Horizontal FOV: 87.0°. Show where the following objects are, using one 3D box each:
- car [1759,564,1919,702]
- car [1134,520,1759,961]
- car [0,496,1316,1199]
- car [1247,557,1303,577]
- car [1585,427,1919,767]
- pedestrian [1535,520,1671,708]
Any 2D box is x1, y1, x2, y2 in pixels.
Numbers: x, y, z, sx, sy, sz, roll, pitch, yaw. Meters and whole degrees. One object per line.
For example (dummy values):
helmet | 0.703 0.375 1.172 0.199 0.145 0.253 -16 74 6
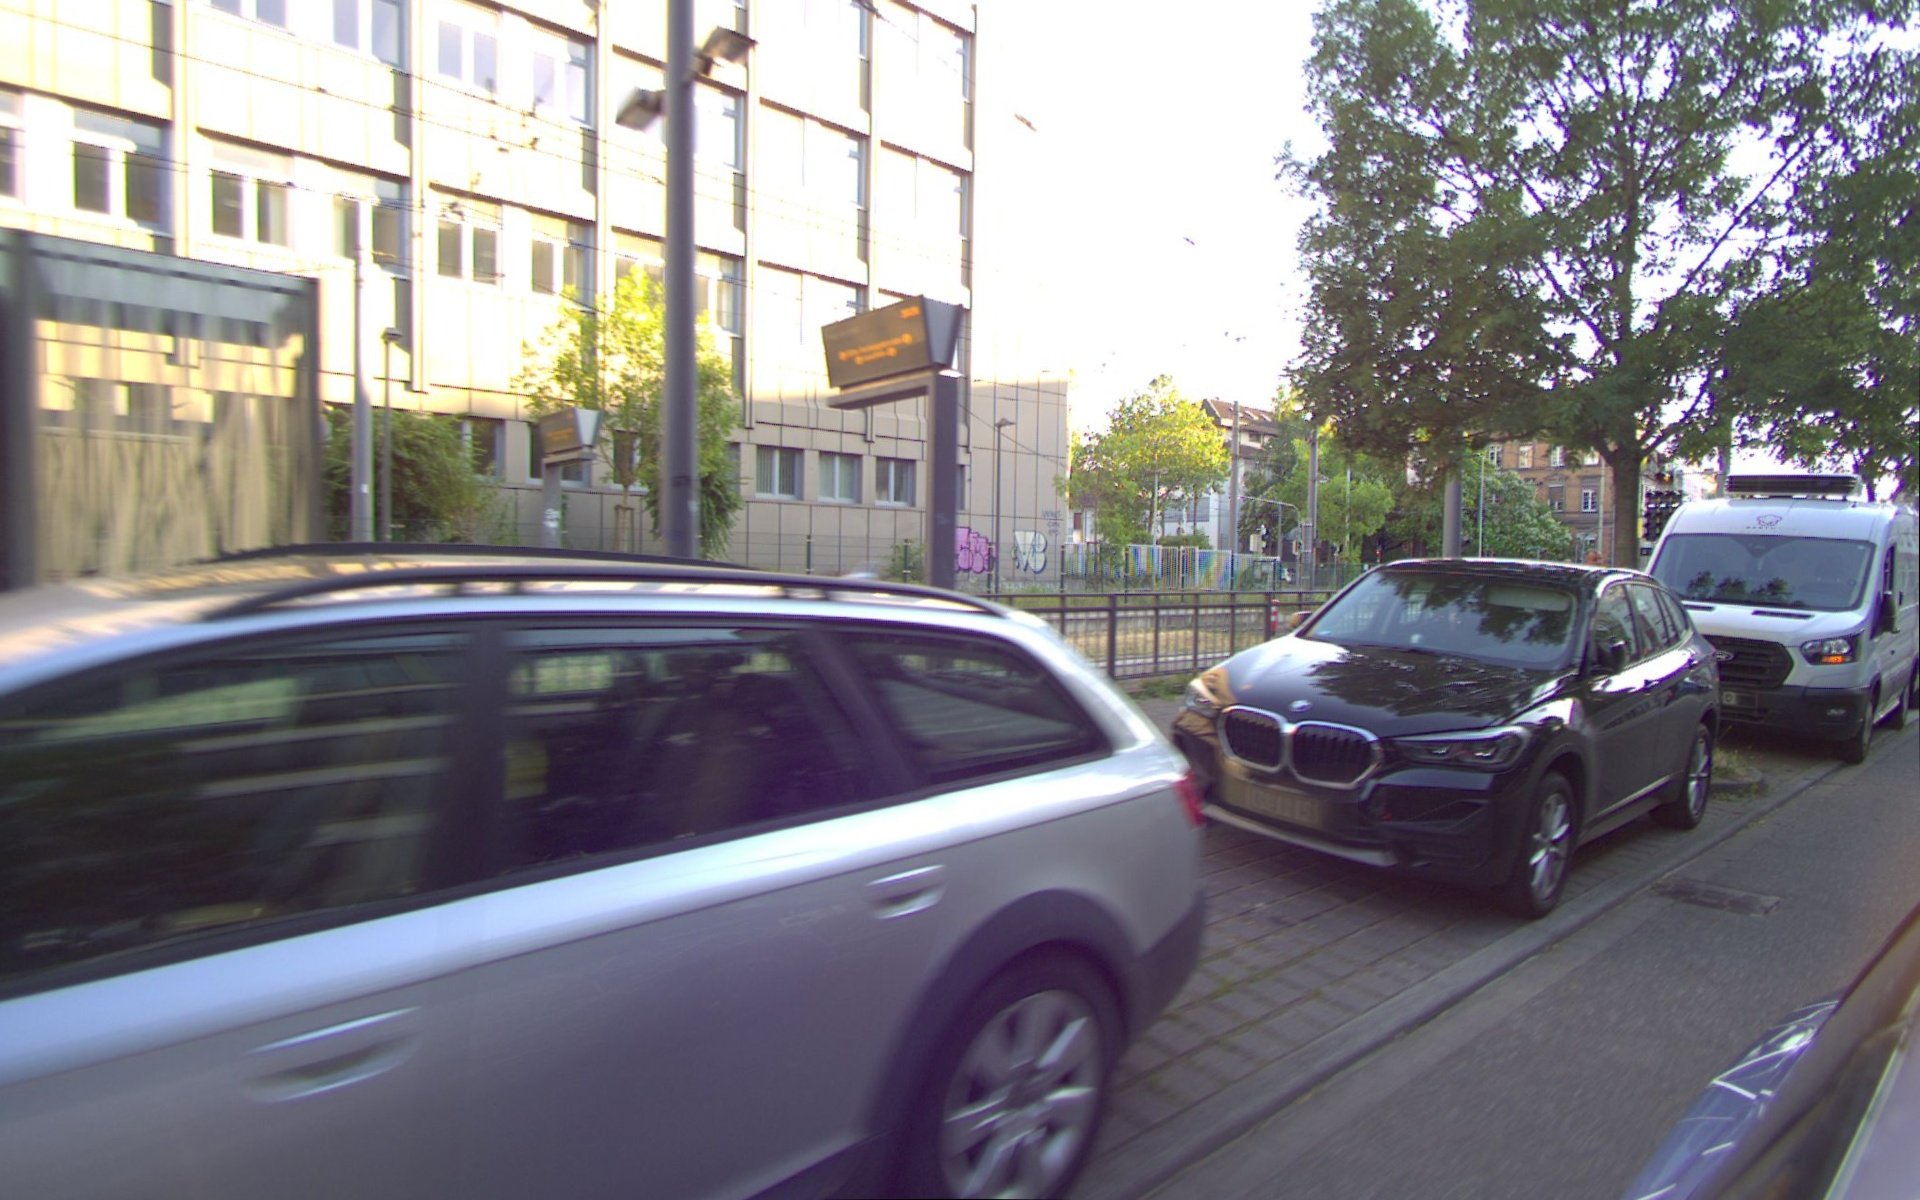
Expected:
car | 12.890 0.364 14.380 3.946 1.602 1.751 -1 6 -43
car | 3.034 0.447 5.860 4.194 1.663 1.711 -1 5 -41
car | -1.461 0.593 1.939 4.695 1.513 1.802 -1 6 -39
car | 27.387 -2.907 88.108 1.966 1.652 4.225 -1 3 -42
car | 8.642 -0.154 10.540 5.342 2.688 2.055 -1 6 -42
pedestrian | 7.231 0.137 11.432 0.962 2.038 0.807 1 2 5
